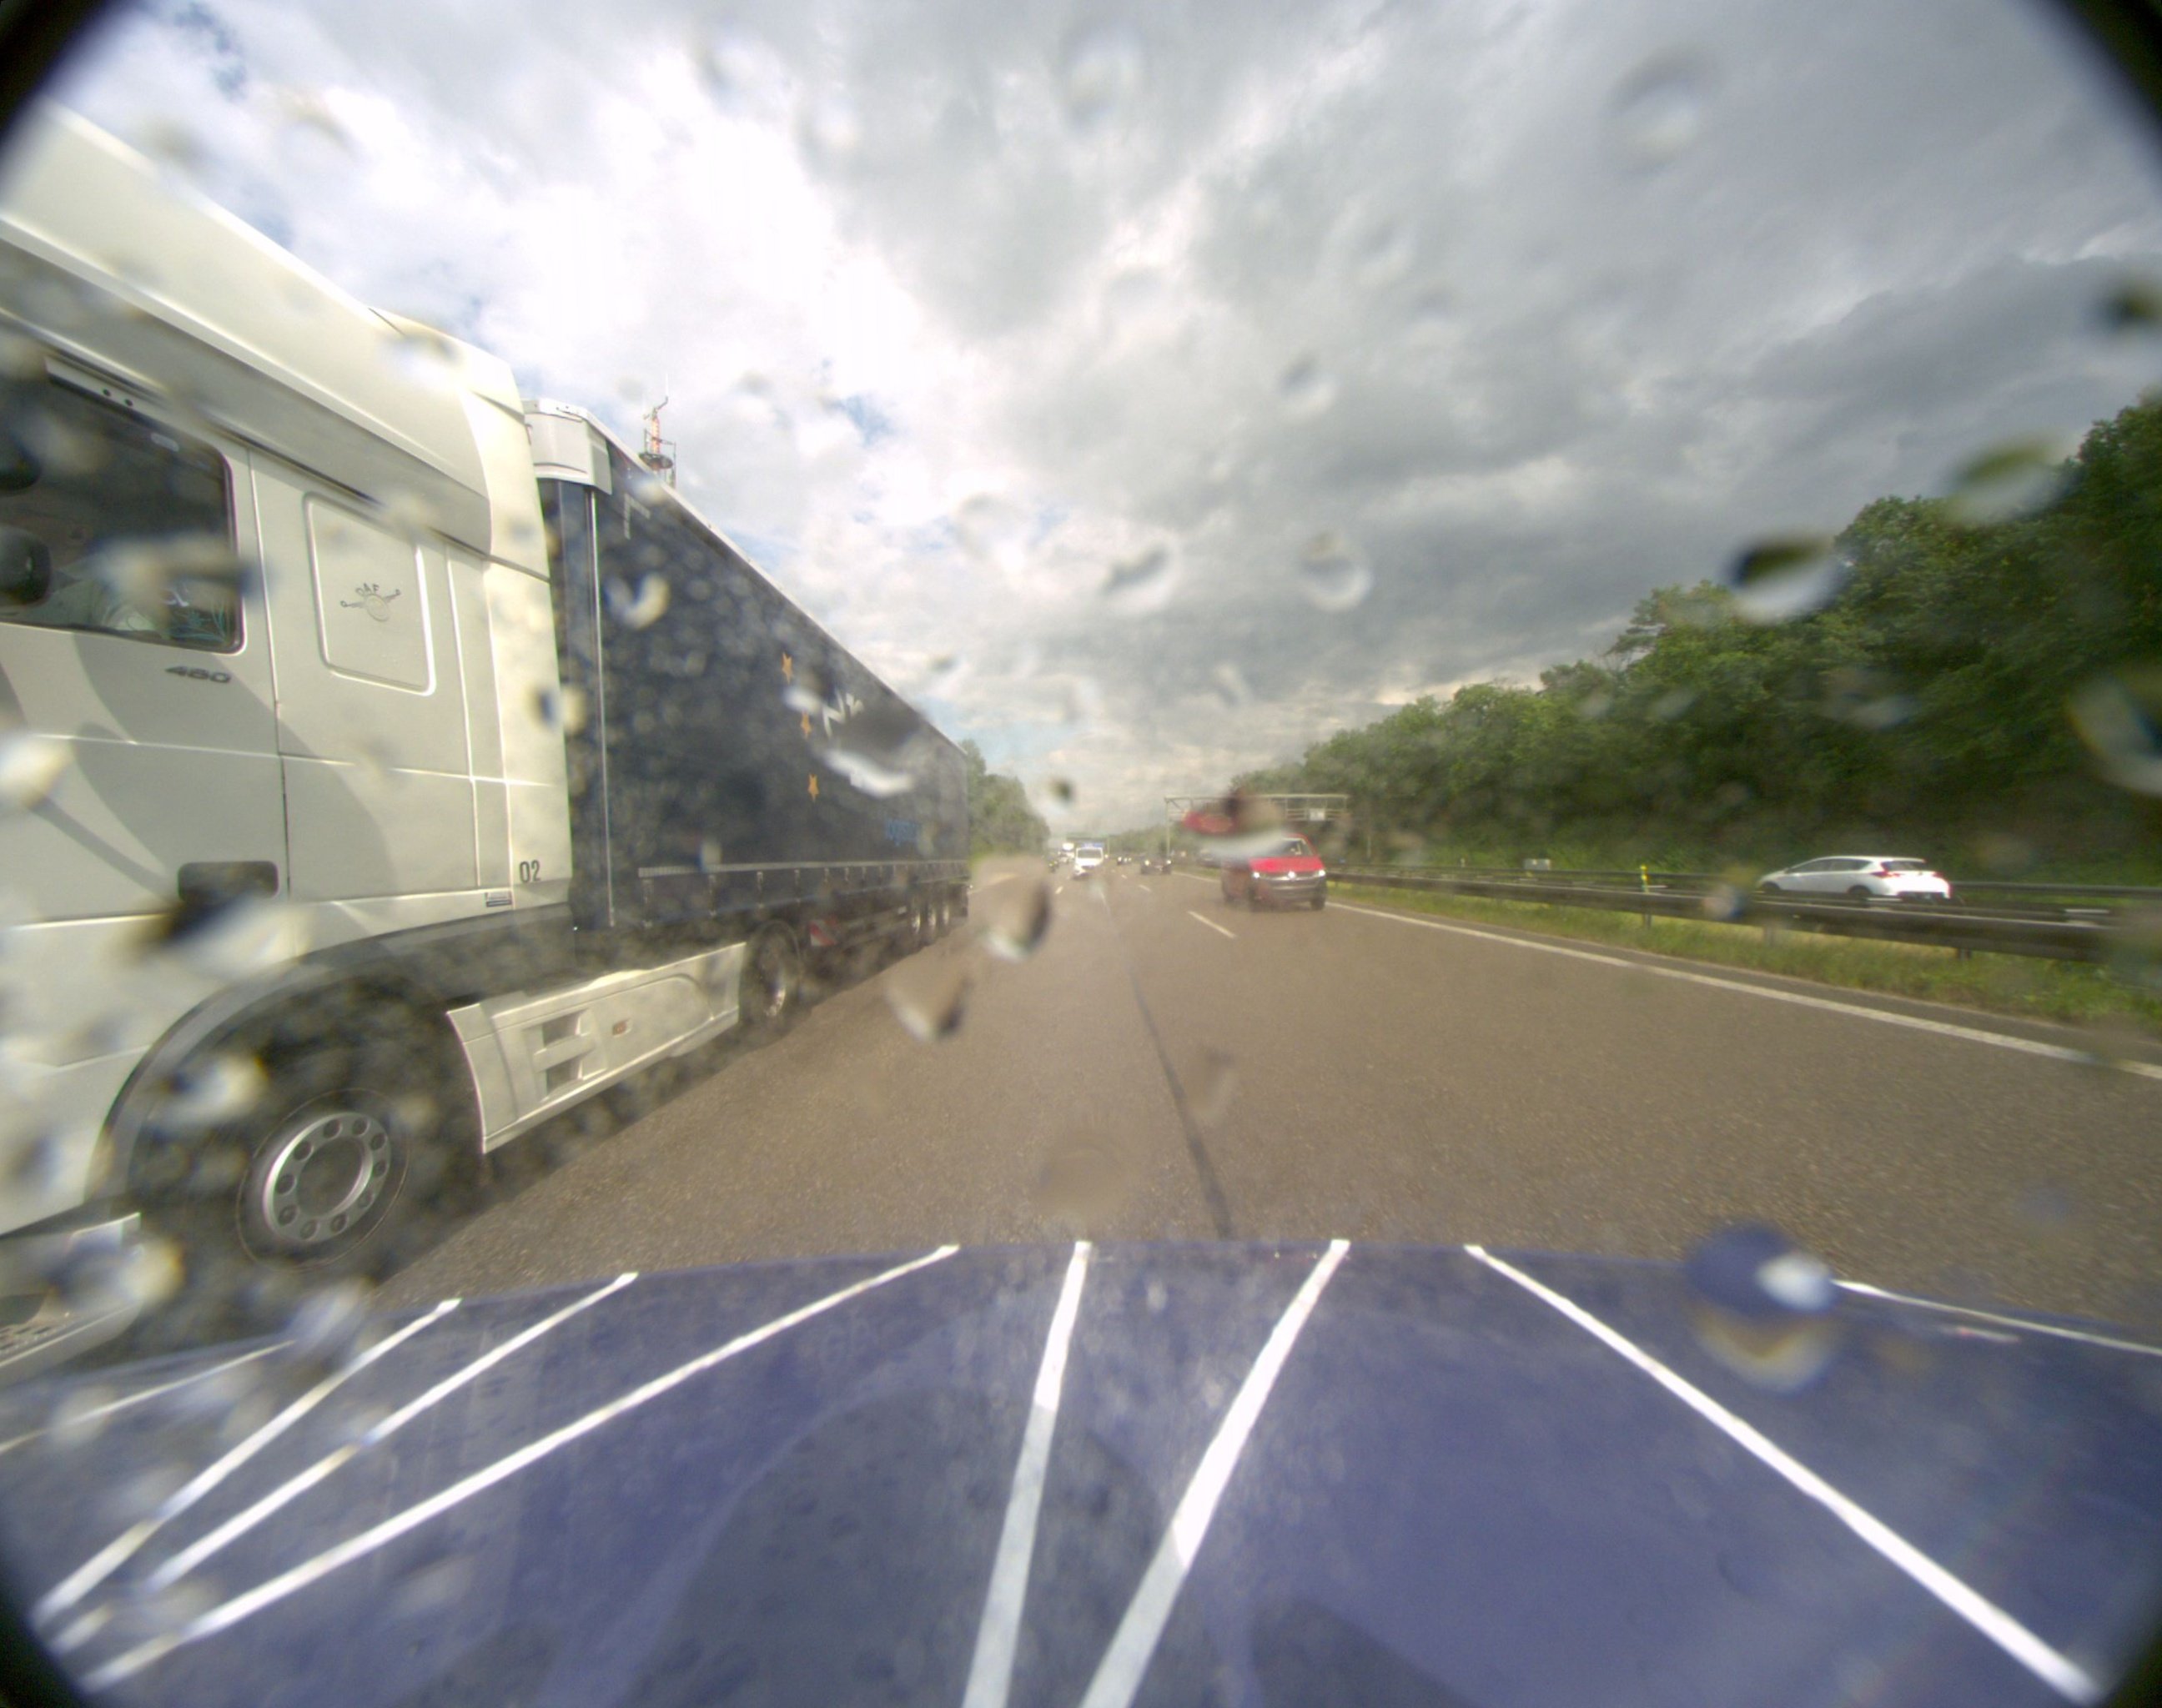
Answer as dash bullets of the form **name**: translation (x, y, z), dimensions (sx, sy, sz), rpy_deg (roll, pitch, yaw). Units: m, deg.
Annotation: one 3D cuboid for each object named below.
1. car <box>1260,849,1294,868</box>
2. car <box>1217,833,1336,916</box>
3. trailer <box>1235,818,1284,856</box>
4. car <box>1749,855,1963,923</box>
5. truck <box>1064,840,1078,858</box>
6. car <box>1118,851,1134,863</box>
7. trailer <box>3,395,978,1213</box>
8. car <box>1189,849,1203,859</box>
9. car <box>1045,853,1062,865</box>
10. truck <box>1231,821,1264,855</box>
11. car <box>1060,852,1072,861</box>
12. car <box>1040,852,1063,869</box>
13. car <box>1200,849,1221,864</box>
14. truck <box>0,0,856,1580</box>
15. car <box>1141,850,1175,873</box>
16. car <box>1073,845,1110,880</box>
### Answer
- **car**: translation (18.881, 0.390, 73.532), dimensions (2.021, 1.653, 4.698), rpy_deg (-2, 1, 0)
- **car**: translation (4.963, 0.462, 20.053), dimensions (1.926, 1.855, 4.838), rpy_deg (-2, 1, 1)
- **trailer**: translation (22.513, -2.100, 96.712), dimensions (2.870, 4.347, 14.090), rpy_deg (-2, 1, 0)
- **car**: translation (21.757, 0.907, 21.623), dimensions (1.736, 1.653, 4.235), rpy_deg (-2, 1, 0)
- **truck**: translation (-2.146, -1.094, 169.170), dimensions (3.064, 3.827, 8.799), rpy_deg (0, 0, 0)
- **car**: translation (5.891, 0.415, 100.403), dimensions (1.798, 1.410, 4.838), rpy_deg (-2, 1, 1)
- **trailer**: translation (-3.865, -0.291, 10.812), dimensions (2.641, 3.972, 14.063), rpy_deg (-2, 1, 1)
- **car**: translation (20.096, -0.004, 132.750), dimensions (1.704, 1.653, 4.235), rpy_deg (-2, 1, 0)
- **car**: translation (-3.393, 0.614, 95.026), dimensions (1.798, 1.410, 4.838), rpy_deg (-2, 1, 1)
- **truck**: translation (22.516, -2.159, 103.291), dimensions (2.870, 4.347, 6.867), rpy_deg (-2, 1, 0)
- **car**: translation (-2.508, 0.469, 129.557), dimensions (1.798, 1.410, 4.838), rpy_deg (-2, 1, 1)
- **car**: translation (-2.729, 0.586, 70.820), dimensions (1.798, 1.410, 4.838), rpy_deg (-2, 1, 1)
- **car**: translation (15.281, 0.260, 89.905), dimensions (1.736, 1.653, 4.235), rpy_deg (-2, 1, 0)
- **truck**: translation (-3.906, -0.250, 4.760), dimensions (2.613, 3.972, 7.289), rpy_deg (-2, 1, 0)
- **car**: translation (5.556, 0.527, 55.064), dimensions (2.009, 1.488, 4.838), rpy_deg (-2, 1, 1)
- **car**: translation (0.658, 0.454, 47.211), dimensions (2.124, 1.988, 5.982), rpy_deg (-2, 1, 1)
